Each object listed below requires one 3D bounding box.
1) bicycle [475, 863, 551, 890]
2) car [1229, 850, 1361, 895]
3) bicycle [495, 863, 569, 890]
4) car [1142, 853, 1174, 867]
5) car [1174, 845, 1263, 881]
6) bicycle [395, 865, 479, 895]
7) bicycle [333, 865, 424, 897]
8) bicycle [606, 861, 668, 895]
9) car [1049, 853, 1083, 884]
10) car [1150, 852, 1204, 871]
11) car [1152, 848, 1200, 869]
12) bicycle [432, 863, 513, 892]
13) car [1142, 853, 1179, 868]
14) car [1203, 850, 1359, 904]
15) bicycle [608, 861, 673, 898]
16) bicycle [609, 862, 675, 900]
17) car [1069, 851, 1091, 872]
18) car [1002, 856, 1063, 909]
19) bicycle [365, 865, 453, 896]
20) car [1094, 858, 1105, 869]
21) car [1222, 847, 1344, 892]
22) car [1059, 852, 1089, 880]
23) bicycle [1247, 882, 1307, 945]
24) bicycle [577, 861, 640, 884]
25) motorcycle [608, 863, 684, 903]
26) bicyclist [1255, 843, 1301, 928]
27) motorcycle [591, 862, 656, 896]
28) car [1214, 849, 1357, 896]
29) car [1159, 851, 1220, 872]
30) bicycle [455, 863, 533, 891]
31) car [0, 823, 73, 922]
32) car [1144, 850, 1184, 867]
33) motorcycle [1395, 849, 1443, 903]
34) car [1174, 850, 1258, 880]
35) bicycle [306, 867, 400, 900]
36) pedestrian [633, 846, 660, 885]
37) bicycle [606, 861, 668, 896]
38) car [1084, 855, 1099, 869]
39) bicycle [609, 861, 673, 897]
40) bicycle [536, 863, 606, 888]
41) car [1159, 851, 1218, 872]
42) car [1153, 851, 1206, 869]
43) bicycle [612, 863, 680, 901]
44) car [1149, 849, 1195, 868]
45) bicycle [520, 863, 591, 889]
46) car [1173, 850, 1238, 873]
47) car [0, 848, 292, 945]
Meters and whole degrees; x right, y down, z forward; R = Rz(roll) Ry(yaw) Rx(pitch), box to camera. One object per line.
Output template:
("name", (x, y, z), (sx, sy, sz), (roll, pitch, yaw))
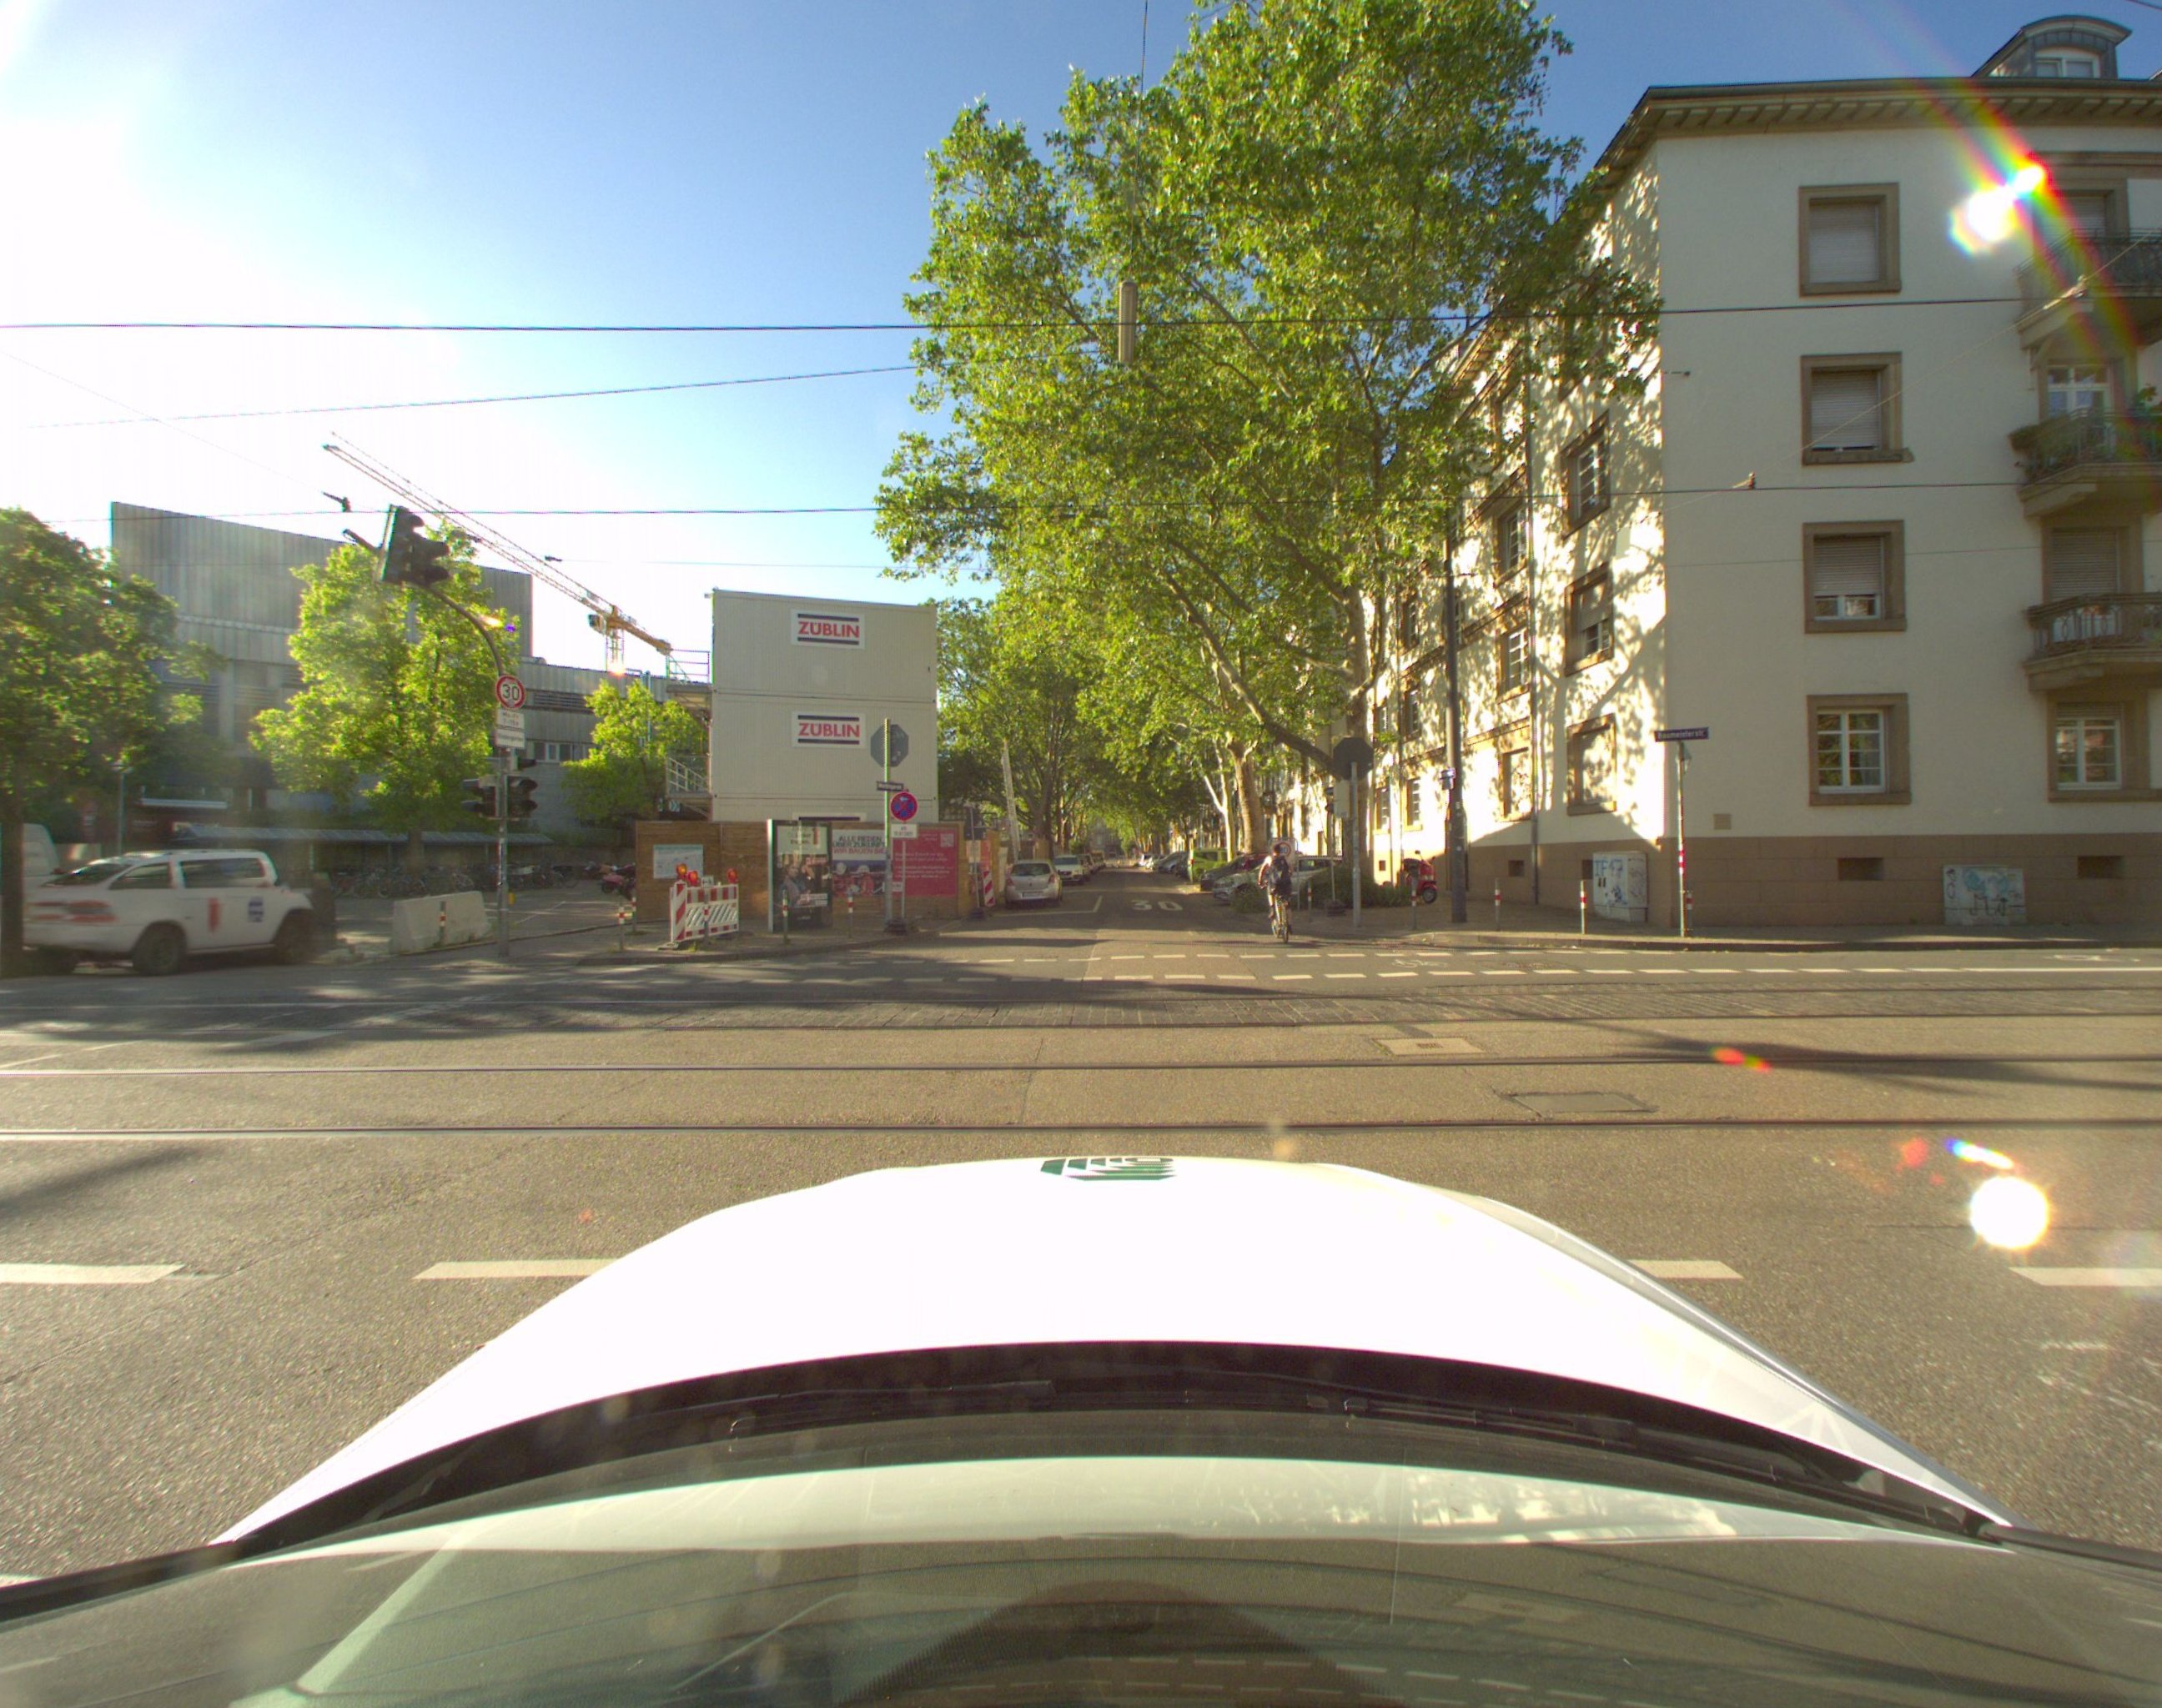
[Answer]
("bicycle", (-25.141, 1.006, 36.077), (3.059, 1.147, 0.824), (-1, 0, 11))
("car", (7.847, 0.658, 30.155), (4.446, 1.571, 1.729), (-1, 0, 1))
("bicycle", (-24.948, 1.019, 37.038), (3.059, 1.147, 0.824), (-1, 0, 11))
("car", (10.760, 0.828, 113.931), (4.446, 1.898, 1.729), (-1, 0, 1))
("car", (7.281, 0.462, 43.333), (4.446, 1.836, 1.728), (-1, 0, 0))
("bicycle", (-25.786, 1.026, 32.627), (3.059, 1.147, 0.824), (-1, 0, 11))
("bicycle", (-26.253, 0.997, 30.441), (3.059, 1.147, 0.824), (-1, 0, 11))
("bicycle", (-17.377, 0.934, 31.887), (2.059, 1.257, 0.537), (-1, 1, -36))
("car", (-0.743, 0.723, 42.704), (1.659, 1.562, 4.000), (-1, 0, 1))
("car", (8.118, 0.617, 69.136), (4.446, 1.571, 1.729), (-1, 0, 1))
("car", (9.170, 0.438, 78.755), (4.446, 1.898, 1.729), (-1, 0, 1))
("bicycle", (-25.540, 0.981, 34.179), (3.059, 1.147, 0.824), (-1, 0, 11))
("car", (9.948, 0.801, 101.767), (4.446, 1.898, 1.729), (-1, 0, 1))
("car", (6.138, 0.703, 25.376), (4.446, 1.571, 1.729), (-1, 0, 1))
("bicycle", (-16.166, 0.915, 29.909), (2.059, 1.257, 0.466), (-1, 1, -36))
("bicycle", (-15.874, 0.959, 29.494), (2.059, 1.257, 0.466), (-1, 1, -36))
("car", (-0.027, 0.599, 64.921), (1.659, 1.562, 4.616), (-1, 0, 1))
("car", (-1.509, 0.857, 26.570), (1.638, 1.494, 4.000), (-3, 0, 1))
("bicycle", (-26.053, 1.012, 31.578), (3.059, 1.147, 0.824), (-1, 0, 11))
("car", (2.821, 1.441, 125.670), (1.659, 1.562, 4.219), (-1, 0, 1))
("car", (7.926, 0.597, 32.242), (4.446, 1.671, 1.729), (-1, 0, 1))
("car", (-0.387, 0.653, 48.234), (1.659, 1.562, 4.519), (-1, 0, 1))
("bicycle", (3.594, 1.061, 15.104), (0.687, 1.016, 1.908), (1, 0, 1))
("bicycle", (-24.776, 0.988, 42.707), (3.059, 1.147, 0.824), (-1, 0, 11))
("motorcycle", (-14.808, 0.976, 27.733), (2.221, 1.257, 0.537), (-1, 1, -36))
("bicyclist", (3.604, 0.562, 14.922), (0.674, 1.513, 0.669), (1, 0, 1))
("motorcycle", (-18.334, 0.978, 32.688), (2.221, 1.257, 0.537), (-1, 1, -36))
("car", (6.911, 0.620, 27.812), (4.446, 1.500, 1.729), (-1, 0, 1))
("car", (8.229, 0.564, 61.883), (4.446, 1.571, 1.729), (-1, 0, 1))
("bicycle", (-25.356, 0.995, 35.202), (3.059, 1.147, 0.824), (-1, 0, 11))
("car", (-28.879, 0.564, 19.749), (1.987, 2.530, 5.381), (-1, 3, 0))
("car", (9.583, 0.503, 94.343), (4.446, 1.898, 1.729), (-1, 0, 1))
("motorcycle", (8.750, 0.541, 21.154), (0.512, 1.332, 1.763), (-1, 0, 0))
("car", (7.460, 0.610, 45.345), (4.446, 1.571, 1.729), (-1, 0, 1))
("bicycle", (-26.319, 1.059, 29.446), (3.059, 1.147, 0.824), (-1, 0, 11))
("pedestrian", (-22.786, 0.595, 42.761), (0.795, 2.013, 0.942), (-1, 0, 13))
("bicycle", (-17.091, 0.929, 31.369), (2.059, 1.257, 0.537), (-1, 1, -36))
("car", (1.260, 0.911, 96.020), (1.659, 1.562, 4.219), (-1, 0, 1))
("bicycle", (-16.411, 0.920, 30.401), (2.059, 1.257, 0.537), (-1, 1, -36))
("bicycle", (-24.518, 1.047, 39.138), (3.059, 1.147, 0.824), (-1, 0, 11))
("car", (8.464, 0.584, 64.353), (4.446, 1.571, 1.729), (-1, 0, 1))
("car", (8.595, 0.527, 71.444), (4.446, 1.571, 1.729), (-1, 0, 1))
("bicycle", (-15.319, 0.973, 28.696), (2.059, 1.257, 0.466), (-1, 1, -36))
("car", (9.108, 0.440, 81.527), (4.446, 1.898, 1.729), (-1, 0, 1))
("bicycle", (-24.646, 1.035, 38.208), (3.059, 1.147, 0.824), (-1, 0, 11))
("car", (8.959, 0.524, 58.654), (4.446, 1.571, 1.729), (-1, 0, 1))
("car", (-22.743, 0.877, 19.746), (1.993, 1.892, 4.959), (0, 2, 8))
